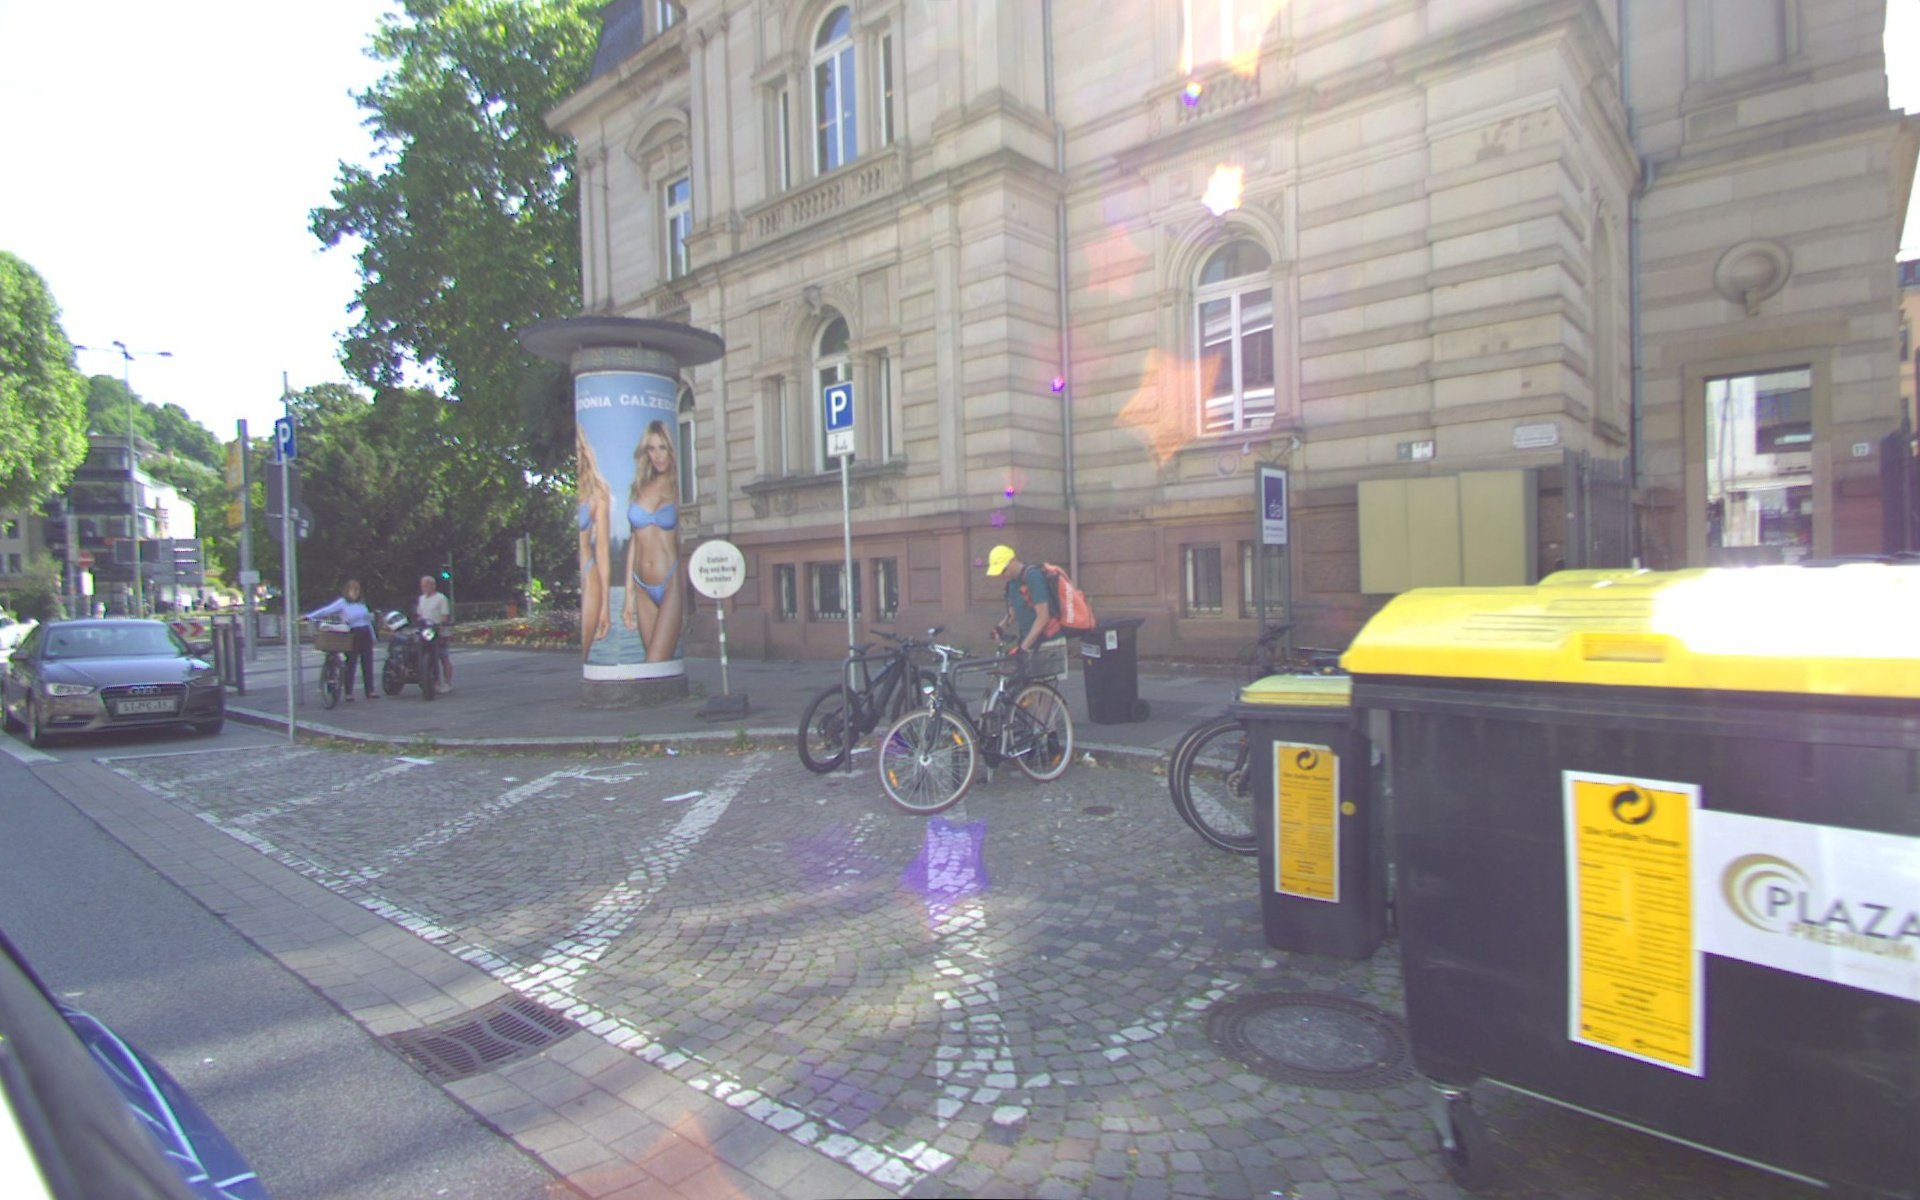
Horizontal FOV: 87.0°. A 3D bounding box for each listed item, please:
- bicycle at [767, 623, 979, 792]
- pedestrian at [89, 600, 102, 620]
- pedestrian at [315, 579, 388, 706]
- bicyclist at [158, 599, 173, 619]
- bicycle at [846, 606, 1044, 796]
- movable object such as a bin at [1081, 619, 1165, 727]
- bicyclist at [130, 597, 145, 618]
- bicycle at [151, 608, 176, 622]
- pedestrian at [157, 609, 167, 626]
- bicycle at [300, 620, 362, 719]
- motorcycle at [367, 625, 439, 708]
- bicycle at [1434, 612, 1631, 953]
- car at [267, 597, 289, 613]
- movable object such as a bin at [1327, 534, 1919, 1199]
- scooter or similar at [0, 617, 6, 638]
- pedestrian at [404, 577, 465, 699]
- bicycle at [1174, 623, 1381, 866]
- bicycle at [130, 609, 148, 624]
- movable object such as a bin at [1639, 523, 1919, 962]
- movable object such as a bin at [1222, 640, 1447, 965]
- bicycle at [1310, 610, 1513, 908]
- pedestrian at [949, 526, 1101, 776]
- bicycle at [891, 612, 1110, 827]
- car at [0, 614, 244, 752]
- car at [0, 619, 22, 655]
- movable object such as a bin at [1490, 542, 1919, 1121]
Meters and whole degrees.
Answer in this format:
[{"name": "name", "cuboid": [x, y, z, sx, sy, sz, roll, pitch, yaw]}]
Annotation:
[{"name": "bicycle", "cuboid": [-0.623, 0.779, 8.117, 0.668, 1.025, 1.949, -1, 3, 30]}, {"name": "pedestrian", "cuboid": [-73.181, 0.843, 85.702, 0.699, 1.685, 0.536, -2, 1, -32]}, {"name": "pedestrian", "cuboid": [-8.492, 0.571, 14.129, 0.691, 1.707, 0.687, 0, 2, 44]}, {"name": "bicyclist", "cuboid": [-67.131, 0.742, 85.507, 0.700, 1.625, 0.733, -3, 1, -11]}, {"name": "bicycle", "cuboid": [-0.045, 0.680, 7.683, 0.554, 1.128, 1.947, -1, 3, 30]}, {"name": "movable object such as a bin", "cuboid": [1.440, 0.618, 8.891, 0.510, 0.882, 0.649, 0, 1, 34]}, {"name": "bicyclist", "cuboid": [-67.971, 0.601, 83.647, 0.753, 1.648, 0.946, -2, 2, -28]}, {"name": "bicycle", "cuboid": [-67.202, 1.289, 85.431, 0.700, 1.062, 2.212, -4, 2, -11]}, {"name": "pedestrian", "cuboid": [-82.072, 1.776, 104.091, 0.592, 1.717, 0.606, -2, 1, -24]}, {"name": "bicycle", "cuboid": [-8.466, 0.890, 13.585, 0.424, 1.128, 2.248, -4, 4, -38]}, {"name": "motorcycle", "cuboid": [-7.783, 0.882, 14.102, 0.448, 1.005, 2.164, -4, 3, -39]}, {"name": "bicycle", "cuboid": [2.665, 0.676, 4.602, 0.508, 1.129, 1.949, 0, 2, 37]}, {"name": "car", "cuboid": [-80.883, 0.595, 120.033, 1.820, 1.801, 4.013, -2, 1, -29]}, {"name": "movable object such as a bin", "cuboid": [1.848, 0.609, 2.377, 1.110, 1.461, 1.440, -5, 1, -43]}, {"name": "scooter or similar", "cuboid": [-59.591, 1.711, 62.265, 0.807, 1.308, 1.702, -1, 1, -28]}, {"name": "pedestrian", "cuboid": [-7.489, 0.514, 14.416, 0.542, 1.677, 0.938, -2, 2, -40]}, {"name": "bicycle", "cuboid": [1.893, 0.728, 5.856, 0.556, 1.081, 1.826, 1, 3, 37]}, {"name": "bicycle", "cuboid": [-68.005, 1.363, 83.814, 0.747, 1.129, 2.008, -1, 2, -28]}, {"name": "movable object such as a bin", "cuboid": [3.575, 0.450, 3.843, 1.195, 1.461, 1.365, -5, 1, -43]}, {"name": "movable object such as a bin", "cuboid": [1.533, 0.753, 4.103, 0.655, 1.106, 0.717, -3, 1, 34]}, {"name": "bicycle", "cuboid": [2.397, 0.688, 5.226, 0.508, 1.128, 1.956, 0, 3, 37]}, {"name": "pedestrian", "cuboid": [0.500, 0.349, 7.616, 0.746, 1.738, 0.881, -1, 1, 35]}, {"name": "bicycle", "cuboid": [0.376, 0.731, 7.167, 0.554, 1.128, 2.221, -1, 3, 30]}, {"name": "car", "cuboid": [-10.571, 0.915, 12.553, 4.249, 1.364, 1.916, -2, 0, 43]}, {"name": "car", "cuboid": [-40.724, 1.592, 41.759, 1.909, 1.440, 4.564, -2, 1, -29]}, {"name": "movable object such as a bin", "cuboid": [2.658, 0.580, 3.145, 1.110, 1.461, 1.440, -5, 1, -43]}]
